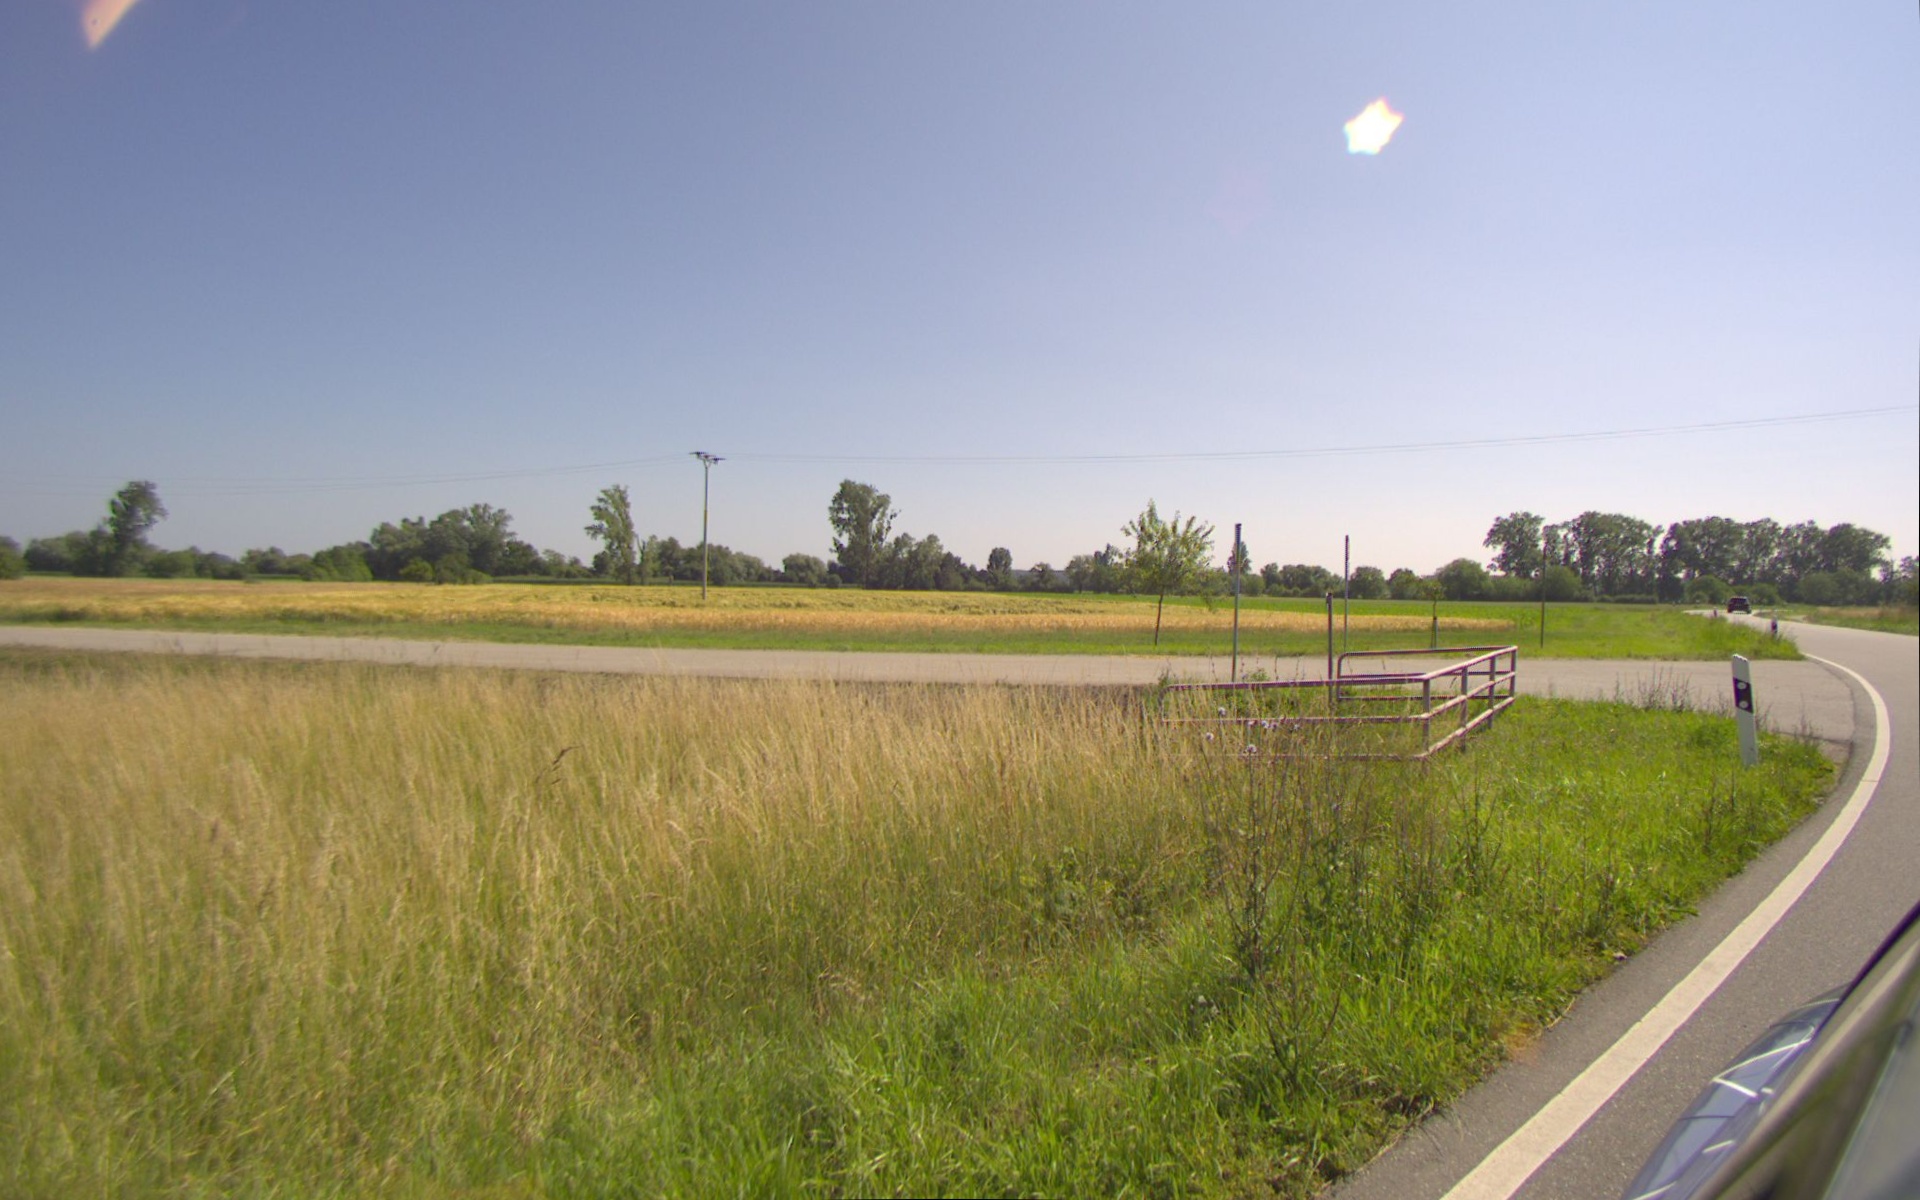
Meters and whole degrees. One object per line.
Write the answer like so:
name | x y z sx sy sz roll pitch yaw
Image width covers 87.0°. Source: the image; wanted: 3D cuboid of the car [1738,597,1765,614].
car | 83.743 0.570 107.087 1.865 1.774 4.231 2 2 42
